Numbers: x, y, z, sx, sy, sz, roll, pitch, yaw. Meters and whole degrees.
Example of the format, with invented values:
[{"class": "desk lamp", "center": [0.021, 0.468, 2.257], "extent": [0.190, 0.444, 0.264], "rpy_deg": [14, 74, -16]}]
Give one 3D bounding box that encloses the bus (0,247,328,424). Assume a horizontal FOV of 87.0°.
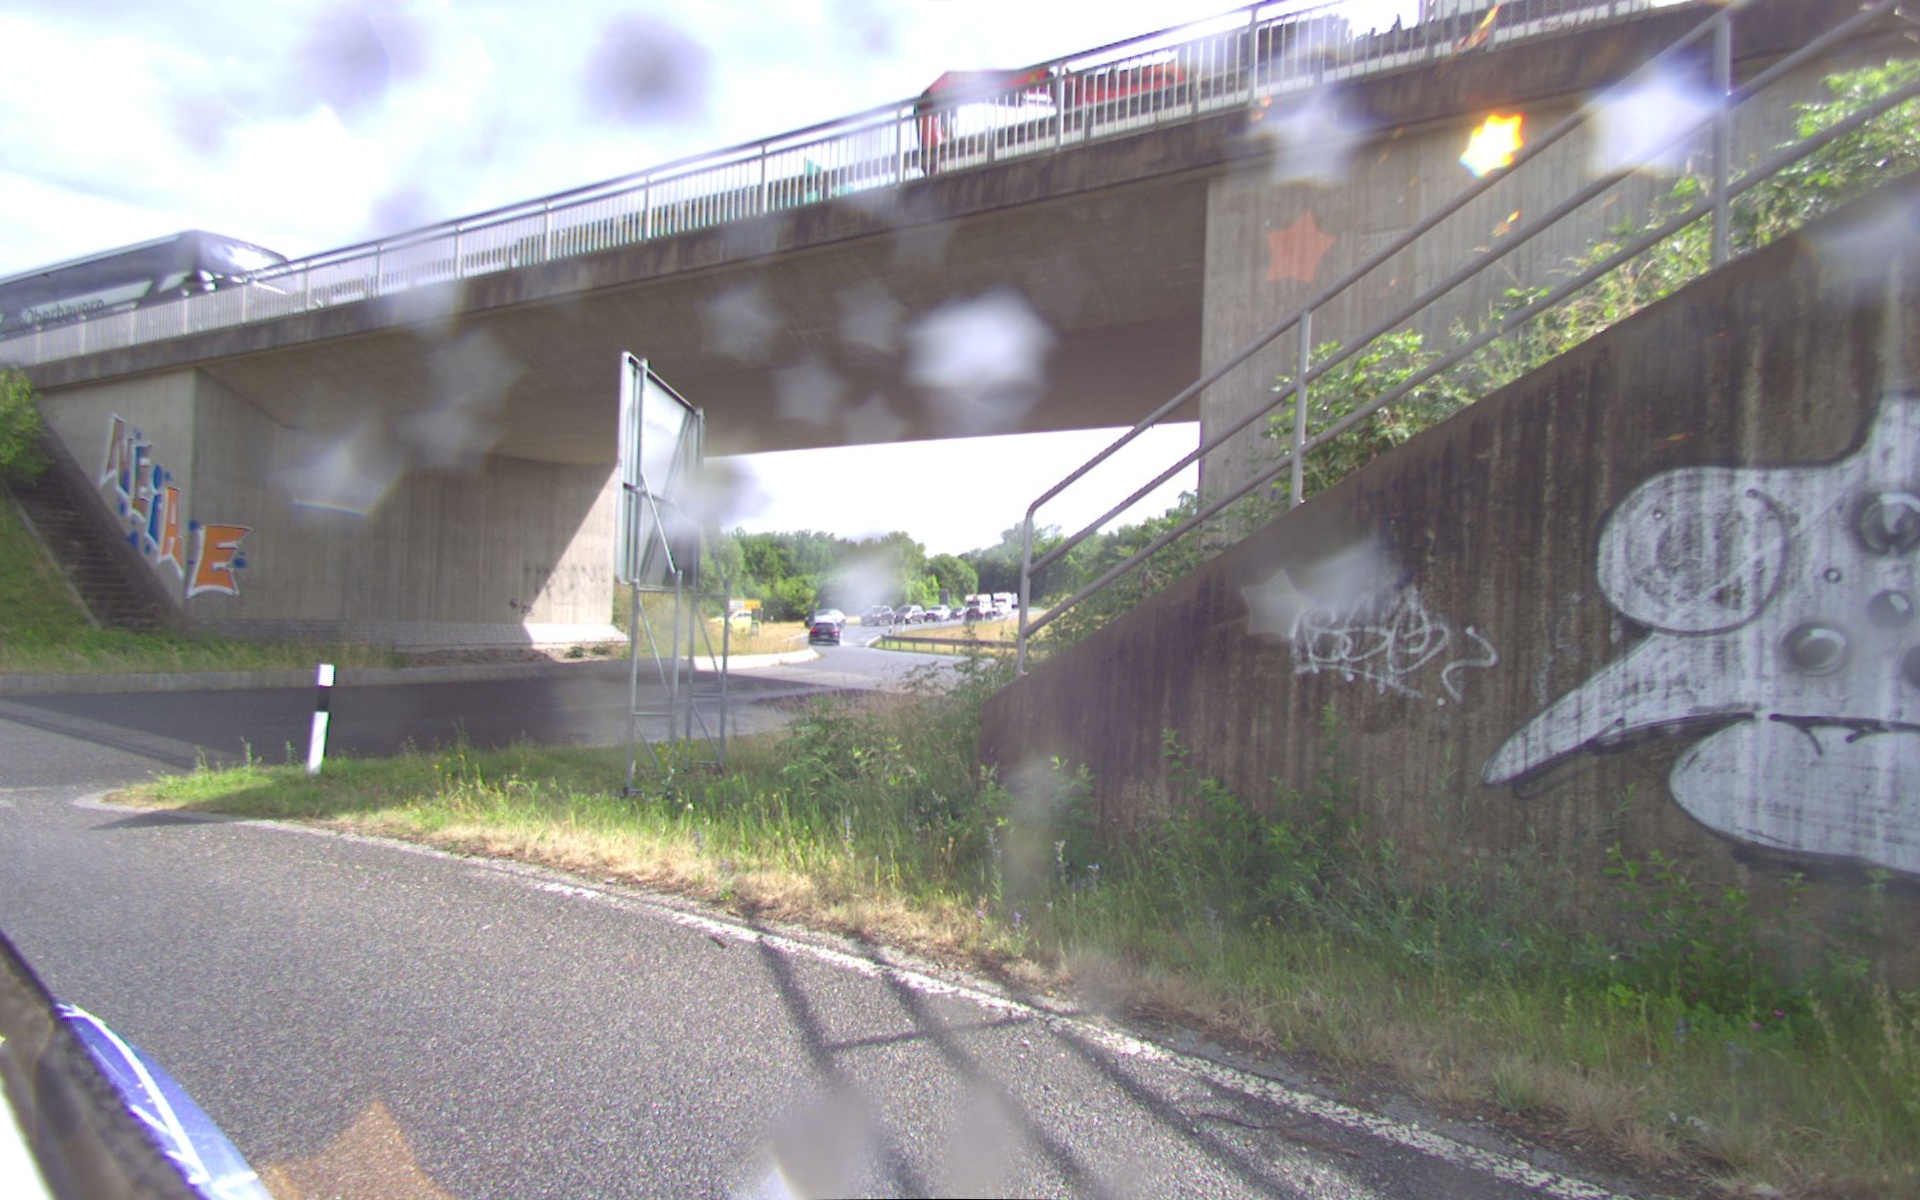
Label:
[{"class": "bus", "center": [-23.544, -7.013, 28.256], "extent": [14.381, 3.102, 2.591], "rpy_deg": [2, 0, 25]}]
